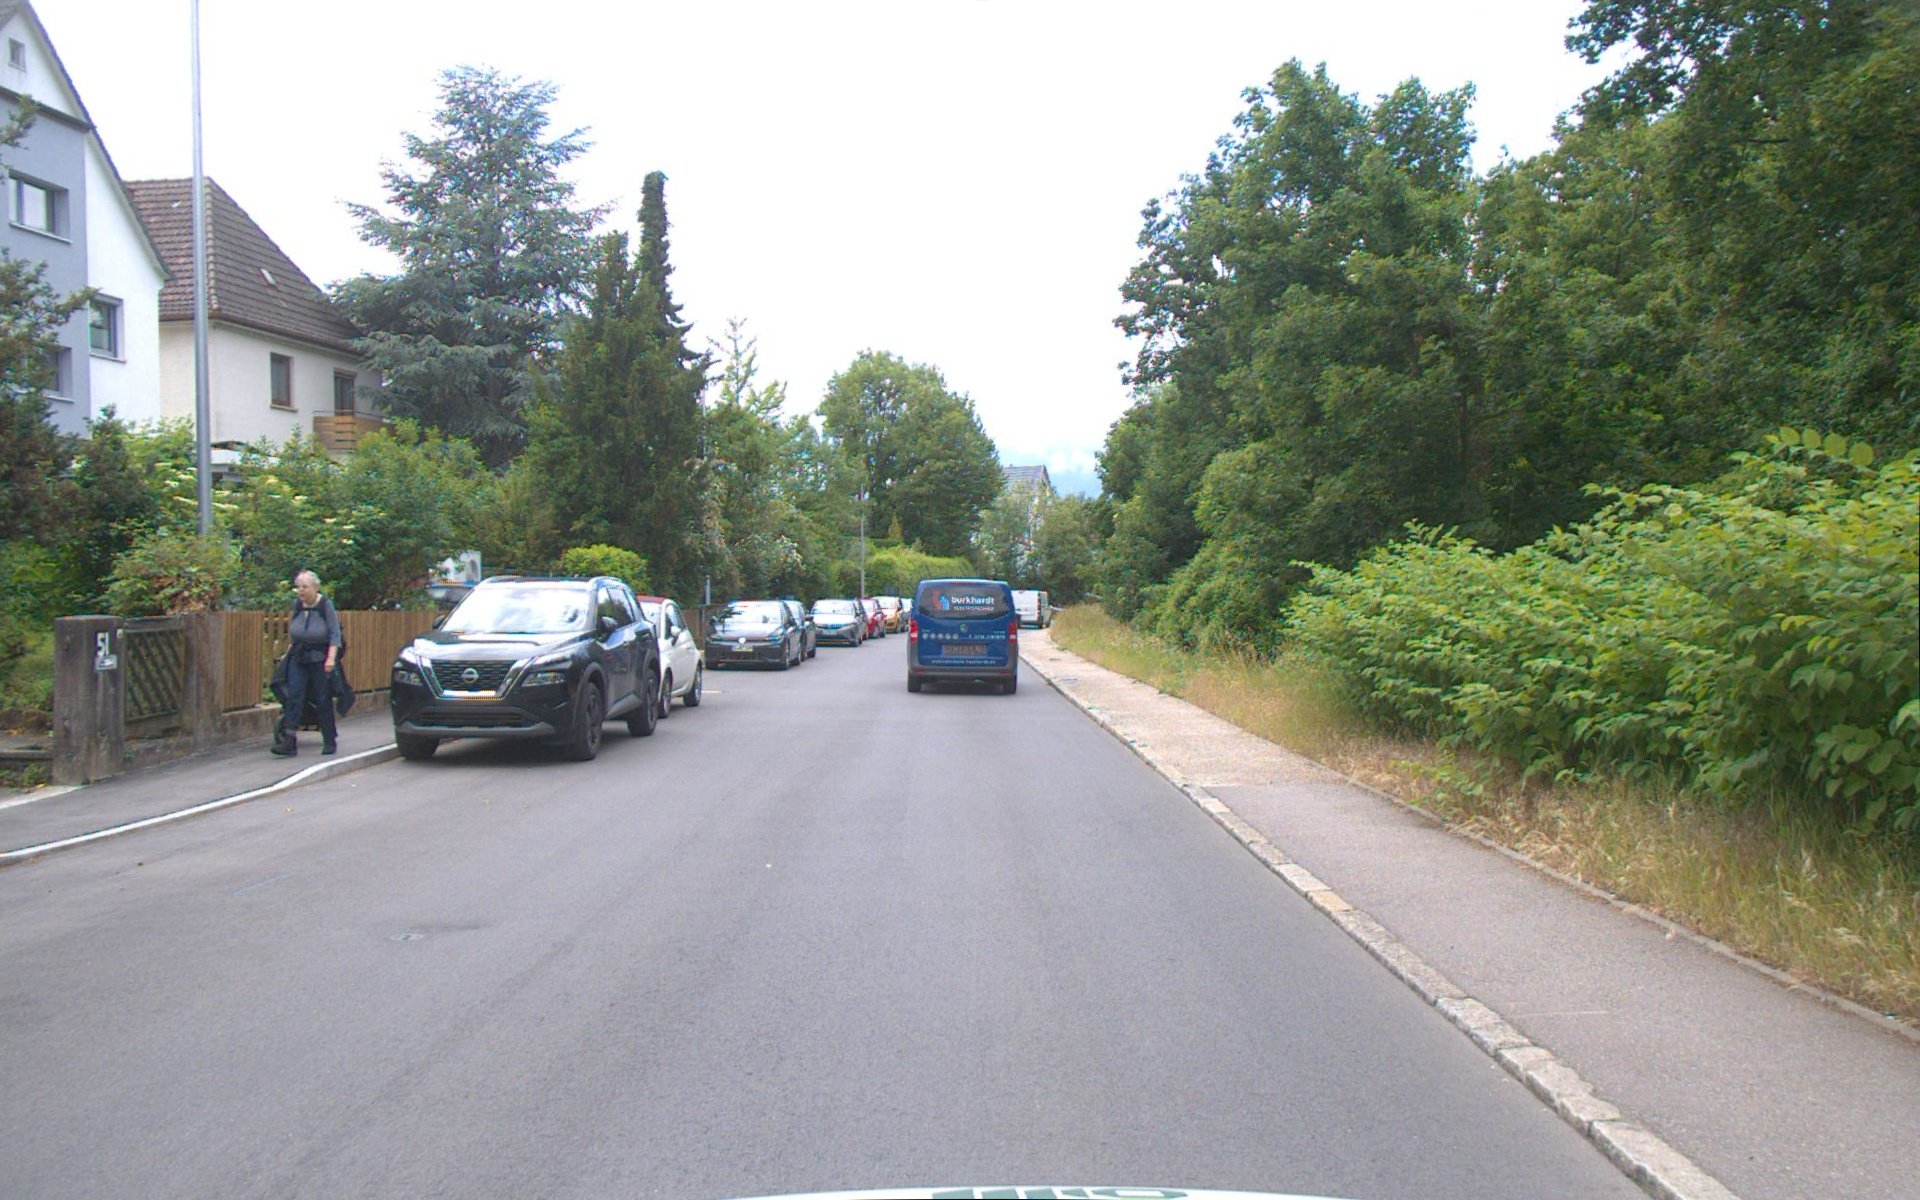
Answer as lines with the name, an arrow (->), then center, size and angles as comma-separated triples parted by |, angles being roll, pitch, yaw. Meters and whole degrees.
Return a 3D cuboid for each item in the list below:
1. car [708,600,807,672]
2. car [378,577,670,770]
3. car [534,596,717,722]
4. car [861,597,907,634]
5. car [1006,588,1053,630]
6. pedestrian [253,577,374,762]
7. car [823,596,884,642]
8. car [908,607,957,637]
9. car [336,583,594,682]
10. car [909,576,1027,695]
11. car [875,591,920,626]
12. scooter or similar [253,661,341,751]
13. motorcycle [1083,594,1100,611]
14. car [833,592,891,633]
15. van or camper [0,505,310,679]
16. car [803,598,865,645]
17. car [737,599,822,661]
car -> -4.349, 0.738, 35.987 | 1.672, 1.441, 4.149 | 0, 0, -1
car -> -4.223, 0.636, 16.741 | 1.755, 1.693, 4.392 | 0, 0, 0
car -> -4.381, 0.718, 22.199 | 1.672, 1.538, 3.945 | 0, 0, -1
car -> -3.234, 0.634, 71.074 | 1.511, 1.541, 3.646 | 0, 0, 4
car -> 3.739, 0.470, 87.973 | 2.159, 2.100, 6.138 | 0, 0, 5
pedestrian -> -5.771, 0.603, 14.809 | 0.753, 1.602, 0.820 | 0, 0, 0
car -> -3.712, 0.650, 58.351 | 1.671, 1.541, 4.497 | 0, 0, 2
car -> -1.343, 1.085, 83.208 | 1.681, 1.409, 4.667 | 0, 0, 9
car -> -8.604, 0.529, 28.860 | 3.902, 1.574, 1.843 | 1, 0, 14
car -> 0.069, 0.571, 28.906 | 1.897, 1.913, 4.529 | 0, 0, -2
car -> -2.829, 0.366, 75.746 | 1.554, 1.541, 3.593 | 0, 0, 6
scooter or similar -> -6.226, 0.989, 15.550 | 0.559, 0.792, 0.711 | 0, 0, -2
motorcycle -> 11.892, 0.229, 149.161 | 0.793, 1.511, 2.896 | 0, 0, 20
car -> -3.745, 0.462, 63.826 | 1.671, 1.541, 4.366 | 0, 0, 4
van or camper -> -14.726, -0.189, 28.065 | 6.537, 2.697, 2.326 | 2, 0, 9
car -> -3.978, 0.661, 52.799 | 1.672, 1.434, 4.160 | 0, 0, -1
car -> -4.407, 0.704, 40.913 | 1.672, 1.441, 4.132 | 0, 0, -1
